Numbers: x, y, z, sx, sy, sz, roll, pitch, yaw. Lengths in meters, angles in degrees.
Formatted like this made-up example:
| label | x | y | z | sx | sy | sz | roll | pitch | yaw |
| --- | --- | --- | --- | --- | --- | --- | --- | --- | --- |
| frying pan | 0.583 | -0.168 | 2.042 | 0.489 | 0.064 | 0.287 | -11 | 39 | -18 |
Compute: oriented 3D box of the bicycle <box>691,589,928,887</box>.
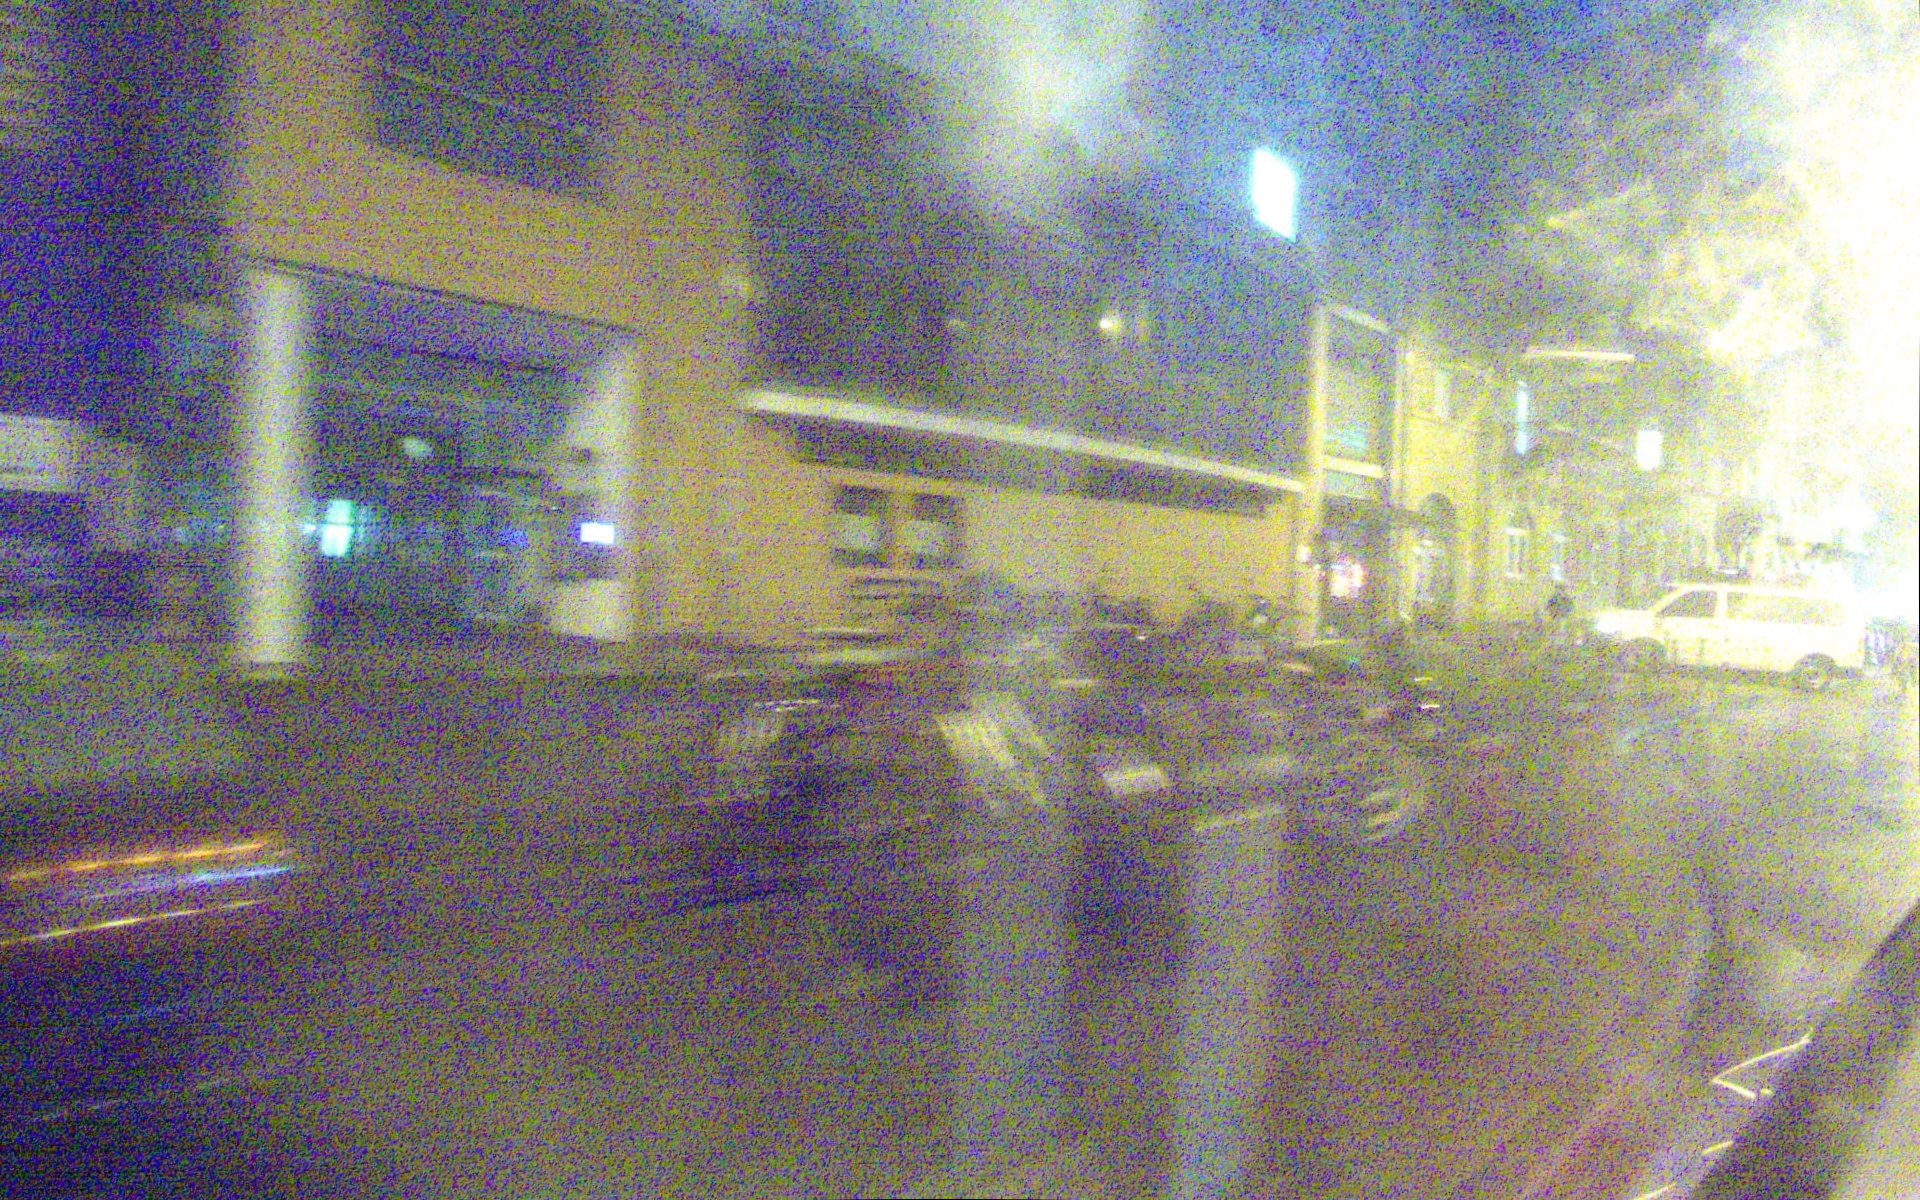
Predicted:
| label | x | y | z | sx | sy | sz | roll | pitch | yaw |
| --- | --- | --- | --- | --- | --- | --- | --- | --- | --- |
| bicycle | -0.812 | 0.574 | 5.022 | 0.528 | 1.172 | 1.602 | 2 | 2 | -32 |

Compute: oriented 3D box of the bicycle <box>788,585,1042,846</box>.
| label | x | y | z | sx | sy | sz | roll | pitch | yaw |
| --- | --- | --- | --- | --- | --- | --- | --- | --- | --- |
| bicycle | -0.304 | 0.548 | 5.559 | 0.411 | 1.172 | 1.598 | 2 | 2 | -43 |

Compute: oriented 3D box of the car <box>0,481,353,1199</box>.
| label | x | y | z | sx | sy | sz | roll | pitch | yaw |
| --- | --- | --- | --- | --- | --- | --- | --- | --- | --- |
| car | -3.087 | 0.503 | 1.850 | 3.675 | 1.541 | 1.643 | 4 | 3 | 26 |

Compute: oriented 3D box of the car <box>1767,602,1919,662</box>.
| label | x | y | z | sx | sy | sz | roll | pitch | yaw |
| --- | --- | --- | --- | --- | --- | --- | --- | --- | --- |
| car | 26.661 | 0.927 | 30.388 | 3.346 | 1.580 | 1.589 | 2 | 1 | 13 |

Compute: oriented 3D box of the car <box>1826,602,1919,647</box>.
| label | x | y | z | sx | sy | sz | roll | pitch | yaw |
| --- | --- | --- | --- | --- | --- | --- | --- | --- | --- |
| car | 35.730 | 0.982 | 38.351 | 4.052 | 1.510 | 1.589 | 4 | 2 | 13 |

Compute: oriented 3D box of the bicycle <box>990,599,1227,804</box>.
| label | x | y | z | sx | sy | sz | roll | pitch | yaw |
| --- | --- | --- | --- | --- | --- | --- | --- | --- | --- |
| bicycle | 0.929 | 0.603 | 6.697 | 0.411 | 1.125 | 1.598 | 2 | 2 | -43 |

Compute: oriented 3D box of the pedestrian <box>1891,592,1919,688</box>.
| label | x | y | z | sx | sy | sz | roll | pitch | yaw |
| --- | --- | --- | --- | --- | --- | --- | --- | --- | --- |
| pedestrian | 18.506 | 0.763 | 19.390 | 1.157 | 1.792 | 0.824 | 1 | 1 | -41 |

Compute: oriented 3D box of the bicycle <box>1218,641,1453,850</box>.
| label | x | y | z | sx | sy | sz | roll | pitch | yaw |
| --- | --- | --- | --- | --- | --- | --- | --- | --- | --- |
| bicycle | 2.123 | 0.785 | 5.836 | 0.297 | 0.959 | 1.213 | 1 | 4 | -43 |

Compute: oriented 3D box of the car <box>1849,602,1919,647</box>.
| label | x | y | z | sx | sy | sz | roll | pitch | yaw |
| --- | --- | --- | --- | --- | --- | --- | --- | --- | --- |
| car | 38.029 | 1.020 | 40.416 | 3.347 | 1.611 | 1.588 | 4 | 2 | 14 |

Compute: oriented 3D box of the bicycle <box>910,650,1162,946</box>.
| label | x | y | z | sx | sy | sz | roll | pitch | yaw |
| --- | --- | --- | --- | --- | --- | --- | --- | --- | --- |
| bicycle | 0.273 | 0.753 | 4.218 | 0.263 | 0.959 | 1.134 | 2 | 3 | -42 |

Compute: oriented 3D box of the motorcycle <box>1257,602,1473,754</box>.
| label | x | y | z | sx | sy | sz | roll | pitch | yaw |
| --- | --- | --- | --- | --- | --- | --- | --- | --- | --- |
| motorcycle | 3.629 | 0.651 | 9.154 | 1.633 | 1.137 | 0.643 | 6 | 3 | 44 |

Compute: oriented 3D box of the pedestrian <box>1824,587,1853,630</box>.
| label | x | y | z | sx | sy | sz | roll | pitch | yaw |
| --- | --- | --- | --- | --- | --- | --- | --- | --- | --- |
| pedestrian | 41.349 | 0.404 | 47.650 | 0.868 | 1.930 | 0.806 | 4 | 0 | -41 |

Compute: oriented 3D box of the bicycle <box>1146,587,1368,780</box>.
| label | x | y | z | sx | sy | sz | roll | pitch | yaw |
| --- | --- | --- | --- | --- | --- | --- | --- | --- | --- |
| bicycle | 2.197 | 0.569 | 7.708 | 0.378 | 1.249 | 1.669 | 2 | 2 | -37 |

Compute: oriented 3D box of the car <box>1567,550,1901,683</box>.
| label | x | y | z | sx | sy | sz | roll | pitch | yaw |
| --- | --- | --- | --- | --- | --- | --- | --- | --- | --- |
| car | 15.637 | 0.255 | 20.833 | 4.874 | 2.370 | 2.220 | 2 | 1 | 16 |

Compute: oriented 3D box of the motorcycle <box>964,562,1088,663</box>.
| label | x | y | z | sx | sy | sz | roll | pitch | yaw |
| --- | --- | --- | --- | --- | --- | --- | --- | --- | --- |
| motorcycle | 0.963 | 0.172 | 14.258 | 0.522 | 1.335 | 2.092 | 1 | 0 | 43 |

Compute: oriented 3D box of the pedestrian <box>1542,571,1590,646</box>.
| label | x | y | z | sx | sy | sz | roll | pitch | yaw |
| --- | --- | --- | --- | --- | --- | --- | --- | --- | --- |
| pedestrian | 15.903 | 0.221 | 26.568 | 0.828 | 1.864 | 0.747 | 4 | 0 | -41 |

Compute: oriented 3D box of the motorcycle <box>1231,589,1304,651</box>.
| label | x | y | z | sx | sy | sz | roll | pitch | yaw |
| --- | --- | --- | --- | --- | --- | --- | --- | --- | --- |
| motorcycle | 5.644 | 0.361 | 18.542 | 1.597 | 1.081 | 0.523 | 1 | 0 | -43 |

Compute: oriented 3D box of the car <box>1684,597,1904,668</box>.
| label | x | y | z | sx | sy | sz | roll | pitch | yaw |
| --- | --- | --- | --- | --- | --- | --- | --- | --- | --- |
| car | 21.567 | 0.792 | 26.371 | 4.004 | 1.580 | 1.738 | 3 | 1 | 21 |

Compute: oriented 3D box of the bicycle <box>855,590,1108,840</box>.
| label | x | y | z | sx | sy | sz | roll | pitch | yaw |
| --- | --- | --- | --- | --- | --- | --- | --- | --- | --- |
| bicycle | 0.064 | 0.575 | 5.801 | 0.411 | 1.172 | 1.598 | 2 | 2 | -43 |

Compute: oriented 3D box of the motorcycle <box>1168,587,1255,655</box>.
| label | x | y | z | sx | sy | sz | roll | pitch | yaw |
| --- | --- | --- | --- | --- | --- | --- | --- | --- | --- |
| motorcycle | 4.281 | 0.341 | 17.102 | 0.522 | 1.081 | 2.026 | 1 | 1 | 42 |

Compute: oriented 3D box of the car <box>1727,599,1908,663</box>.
| label | x | y | z | sx | sy | sz | roll | pitch | yaw |
| --- | --- | --- | --- | --- | --- | --- | --- | --- | --- |
| car | 24.119 | 0.841 | 28.596 | 3.460 | 1.580 | 1.588 | 2 | 1 | 15 |

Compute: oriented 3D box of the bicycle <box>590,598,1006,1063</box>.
| label | x | y | z | sx | sy | sz | roll | pitch | yaw |
| --- | --- | --- | --- | --- | --- | --- | --- | --- | --- |
| bicycle | -0.713 | 0.638 | 3.725 | 0.667 | 1.172 | 1.895 | 2 | 2 | -37 |

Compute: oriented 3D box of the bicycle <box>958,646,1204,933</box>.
| label | x | y | z | sx | sy | sz | roll | pitch | yaw |
| --- | --- | --- | --- | --- | --- | --- | --- | --- | --- |
| bicycle | 0.482 | 0.754 | 4.389 | 0.244 | 0.986 | 1.134 | 1 | 3 | -42 |

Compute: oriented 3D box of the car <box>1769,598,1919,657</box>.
| label | x | y | z | sx | sy | sz | roll | pitch | yaw |
| --- | --- | --- | --- | --- | --- | --- | --- | --- | --- |
| car | 28.530 | 0.850 | 32.327 | 3.755 | 1.710 | 1.824 | 2 | 1 | 20 |

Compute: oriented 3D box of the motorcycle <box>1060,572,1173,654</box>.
| label | x | y | z | sx | sy | sz | roll | pitch | yaw |
| --- | --- | --- | --- | --- | --- | --- | --- | --- | --- |
| motorcycle | 2.488 | 0.204 | 15.912 | 2.088 | 1.223 | 0.523 | 1 | 0 | -41 |

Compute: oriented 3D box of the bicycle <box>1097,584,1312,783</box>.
| label | x | y | z | sx | sy | sz | roll | pitch | yaw |
| --- | --- | --- | --- | --- | --- | --- | --- | --- | --- |
| bicycle | 1.746 | 0.550 | 7.456 | 0.410 | 1.249 | 1.584 | 2 | 2 | -37 |

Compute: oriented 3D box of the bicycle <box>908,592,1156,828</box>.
| label | x | y | z | sx | sy | sz | roll | pitch | yaw |
| --- | --- | --- | --- | --- | --- | --- | --- | --- | --- |
| bicycle | 0.378 | 0.584 | 6.103 | 0.411 | 1.172 | 1.598 | 2 | 2 | -43 |
